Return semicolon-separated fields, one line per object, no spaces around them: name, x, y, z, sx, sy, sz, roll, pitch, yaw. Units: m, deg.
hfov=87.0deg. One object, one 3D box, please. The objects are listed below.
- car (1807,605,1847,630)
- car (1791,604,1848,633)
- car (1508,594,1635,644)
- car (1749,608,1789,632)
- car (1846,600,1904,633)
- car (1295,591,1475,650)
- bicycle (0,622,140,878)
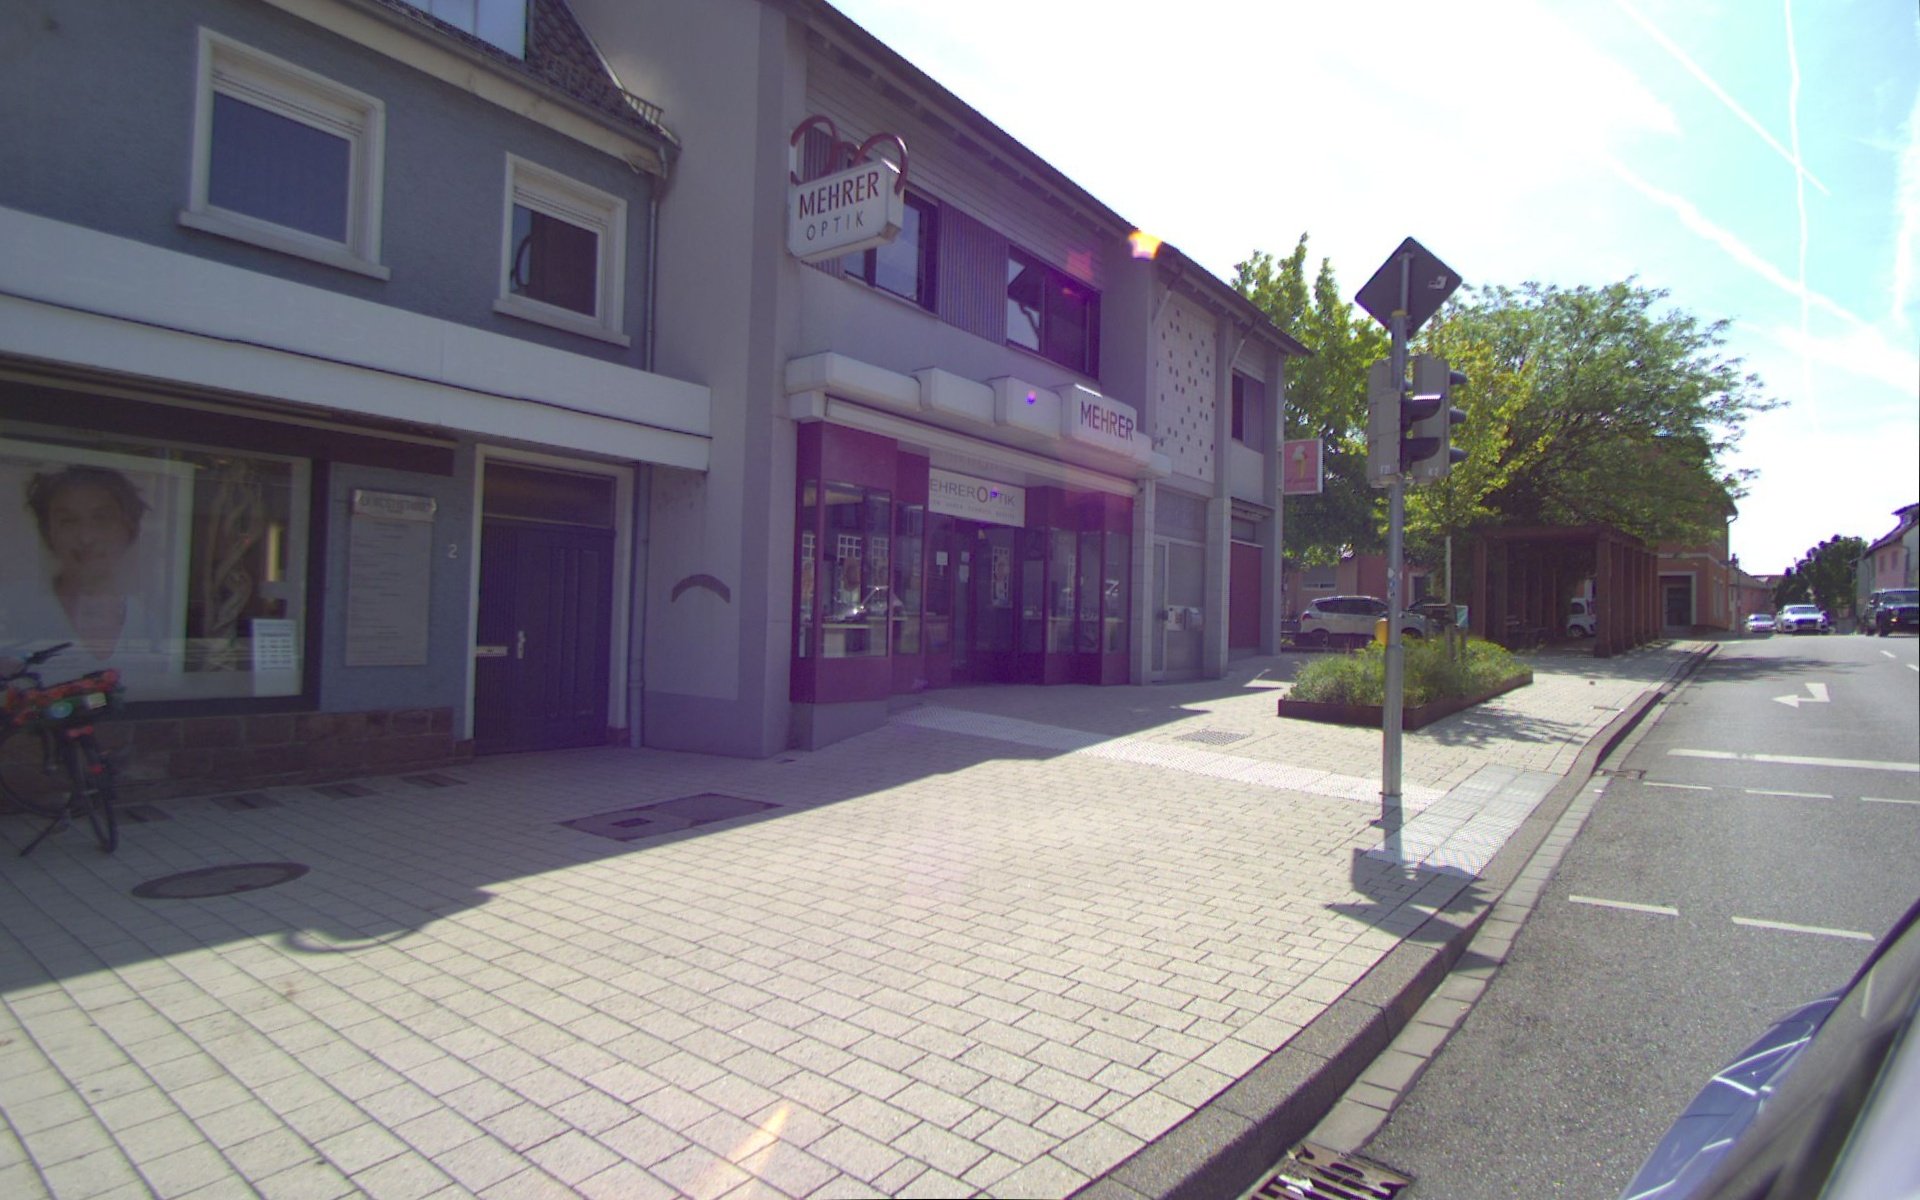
car;58.032;1.158;67.731;1.831;1.562;4.106;-1;-1;43
car;44.412;0.965;52.363;1.776;1.444;3.662;-3;-3;34
car;25.292;0.811;41.933;1.782;1.777;4.087;0;-5;-44
car;55.798;1.365;69.770;1.831;1.562;4.106;-1;-1;43
car;46.110;0.814;51.044;1.771;1.562;4.043;-2;-2;37
car;12.095;0.586;28.965;4.472;1.564;1.701;-1;-1;39
bicycle;-5.321;0.774;5.910;1.802;1.250;0.541;0;-1;42
